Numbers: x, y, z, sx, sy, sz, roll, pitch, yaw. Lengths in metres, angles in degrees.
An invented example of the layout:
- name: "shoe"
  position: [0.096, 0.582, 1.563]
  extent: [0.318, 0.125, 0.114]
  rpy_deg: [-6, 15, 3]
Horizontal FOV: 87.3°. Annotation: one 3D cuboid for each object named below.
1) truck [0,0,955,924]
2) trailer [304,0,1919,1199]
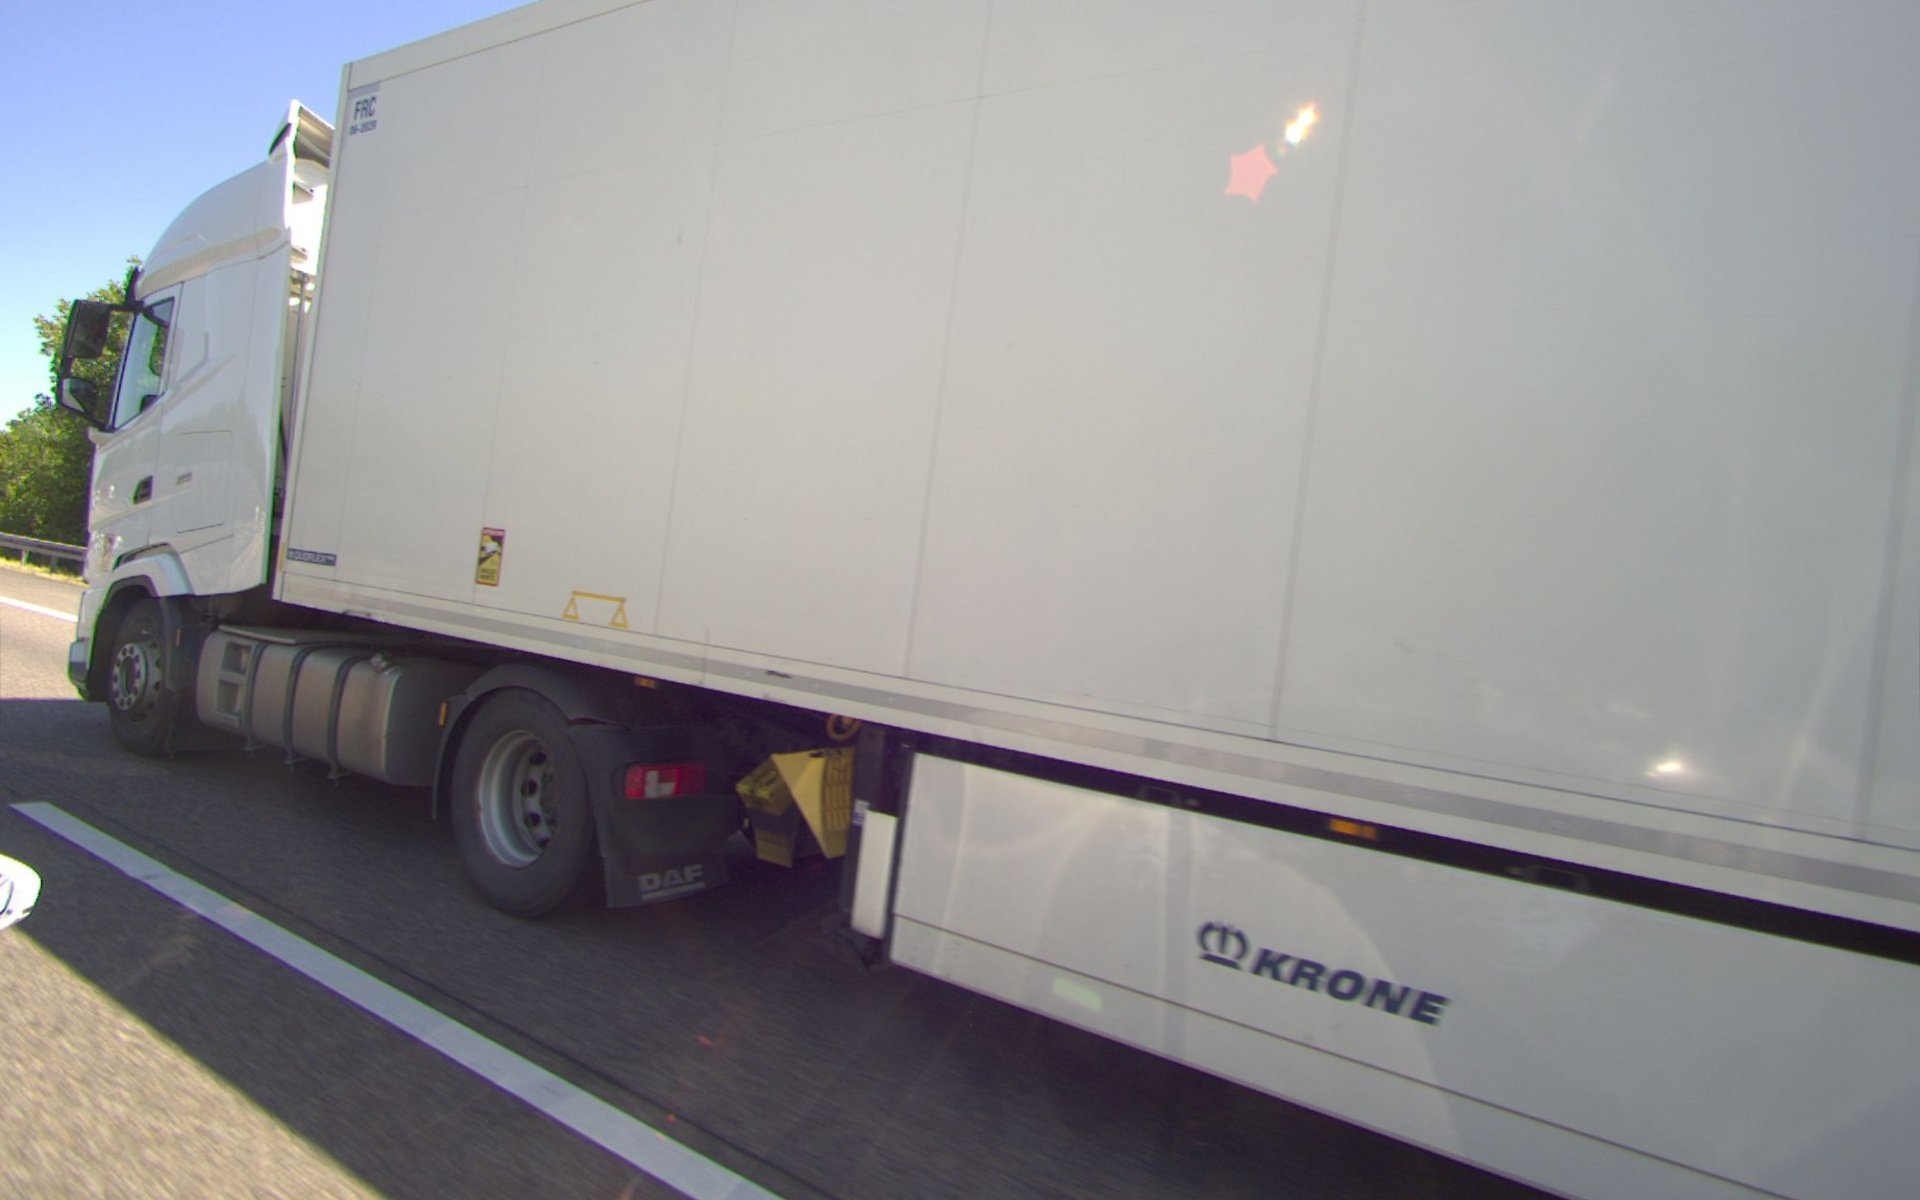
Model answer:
- name: "truck"
  position: [-3.622, -0.876, 7.030]
  extent: [6.103, 4.154, 2.965]
  rpy_deg: [7, -1, 31]
- name: "trailer"
  position: [3.127, -0.113, 2.823]
  extent: [12.324, 4.154, 2.965]
  rpy_deg: [7, -1, 31]
